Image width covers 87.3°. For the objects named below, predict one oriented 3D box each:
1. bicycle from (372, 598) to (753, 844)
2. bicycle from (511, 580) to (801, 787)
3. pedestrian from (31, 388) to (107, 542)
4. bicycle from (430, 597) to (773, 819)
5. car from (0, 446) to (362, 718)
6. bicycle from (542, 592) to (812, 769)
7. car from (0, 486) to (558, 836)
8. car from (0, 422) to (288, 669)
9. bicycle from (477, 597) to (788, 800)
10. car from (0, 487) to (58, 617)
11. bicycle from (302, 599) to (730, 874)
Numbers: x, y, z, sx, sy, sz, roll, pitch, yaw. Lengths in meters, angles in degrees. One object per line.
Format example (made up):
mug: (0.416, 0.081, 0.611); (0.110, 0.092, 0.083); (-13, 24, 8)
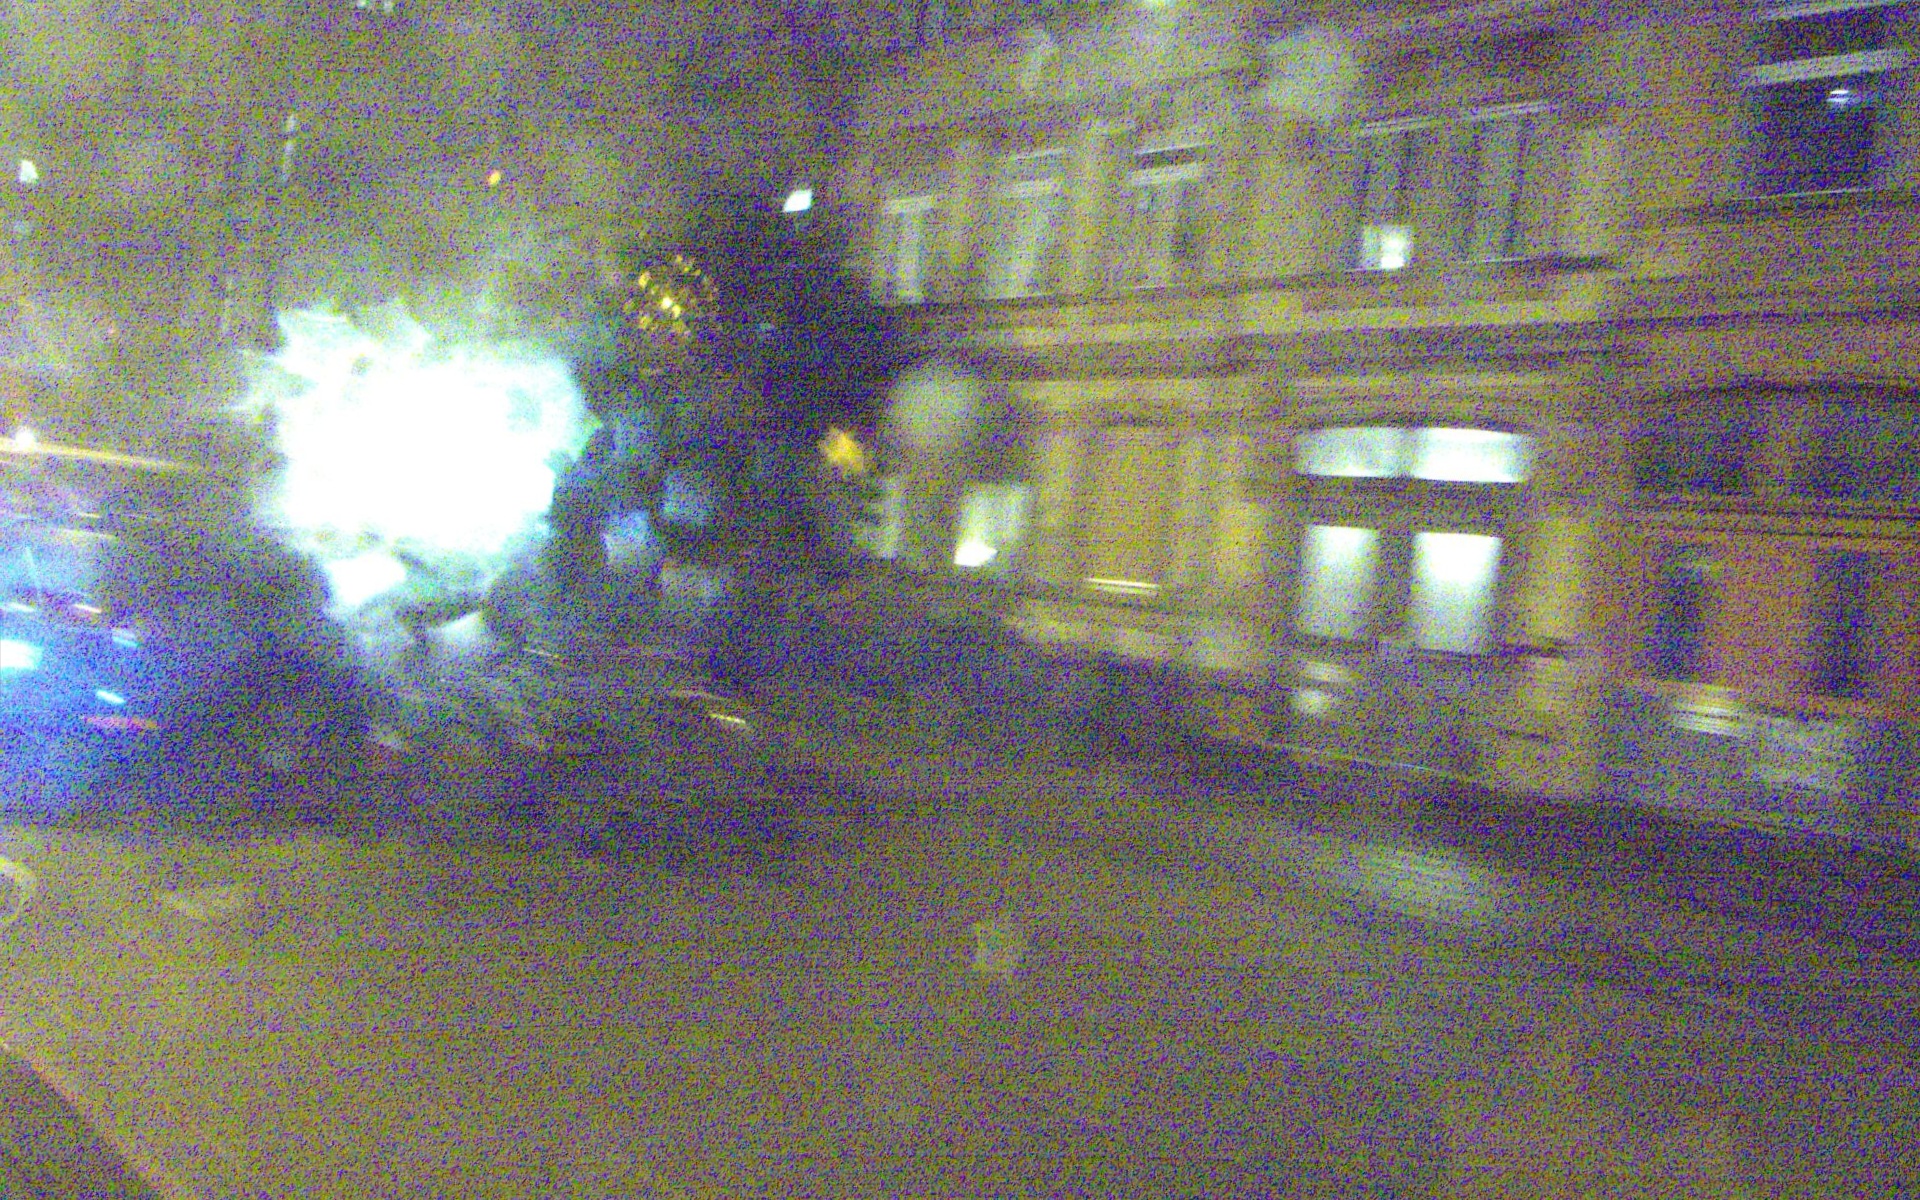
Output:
bicycle: (-2.137, 0.635, 5.524); (1.793, 1.090, 0.519); (6, 2, 0)
bicycle: (-2.105, 0.567, 7.054); (1.793, 1.206, 0.446); (6, 2, 0)
pedestrian: (-21.822, -3.288, 24.638); (0.778, 3.570, 0.893); (7, 0, 31)
bicycle: (-2.128, 0.624, 6.076); (1.793, 1.090, 0.519); (6, 2, 0)
car: (-6.819, -0.204, 8.115); (1.615, 1.734, 3.564); (6, 1, 3)
bicycle: (-2.088, 0.583, 7.517); (1.793, 1.090, 0.446); (6, 2, 0)
car: (-4.442, 0.206, 6.545); (1.701, 1.512, 3.999); (6, 1, 4)
car: (-9.032, -0.558, 9.388); (2.028, 2.073, 4.801); (7, -1, 1)
bicycle: (-2.112, 0.623, 6.580); (1.793, 1.090, 0.446); (6, 2, 0)
car: (-11.899, -0.615, 10.669); (1.423, 1.514, 3.512); (6, 1, 0)
bicycle: (-2.140, 0.640, 4.964); (1.793, 1.090, 0.519); (6, 2, 0)
